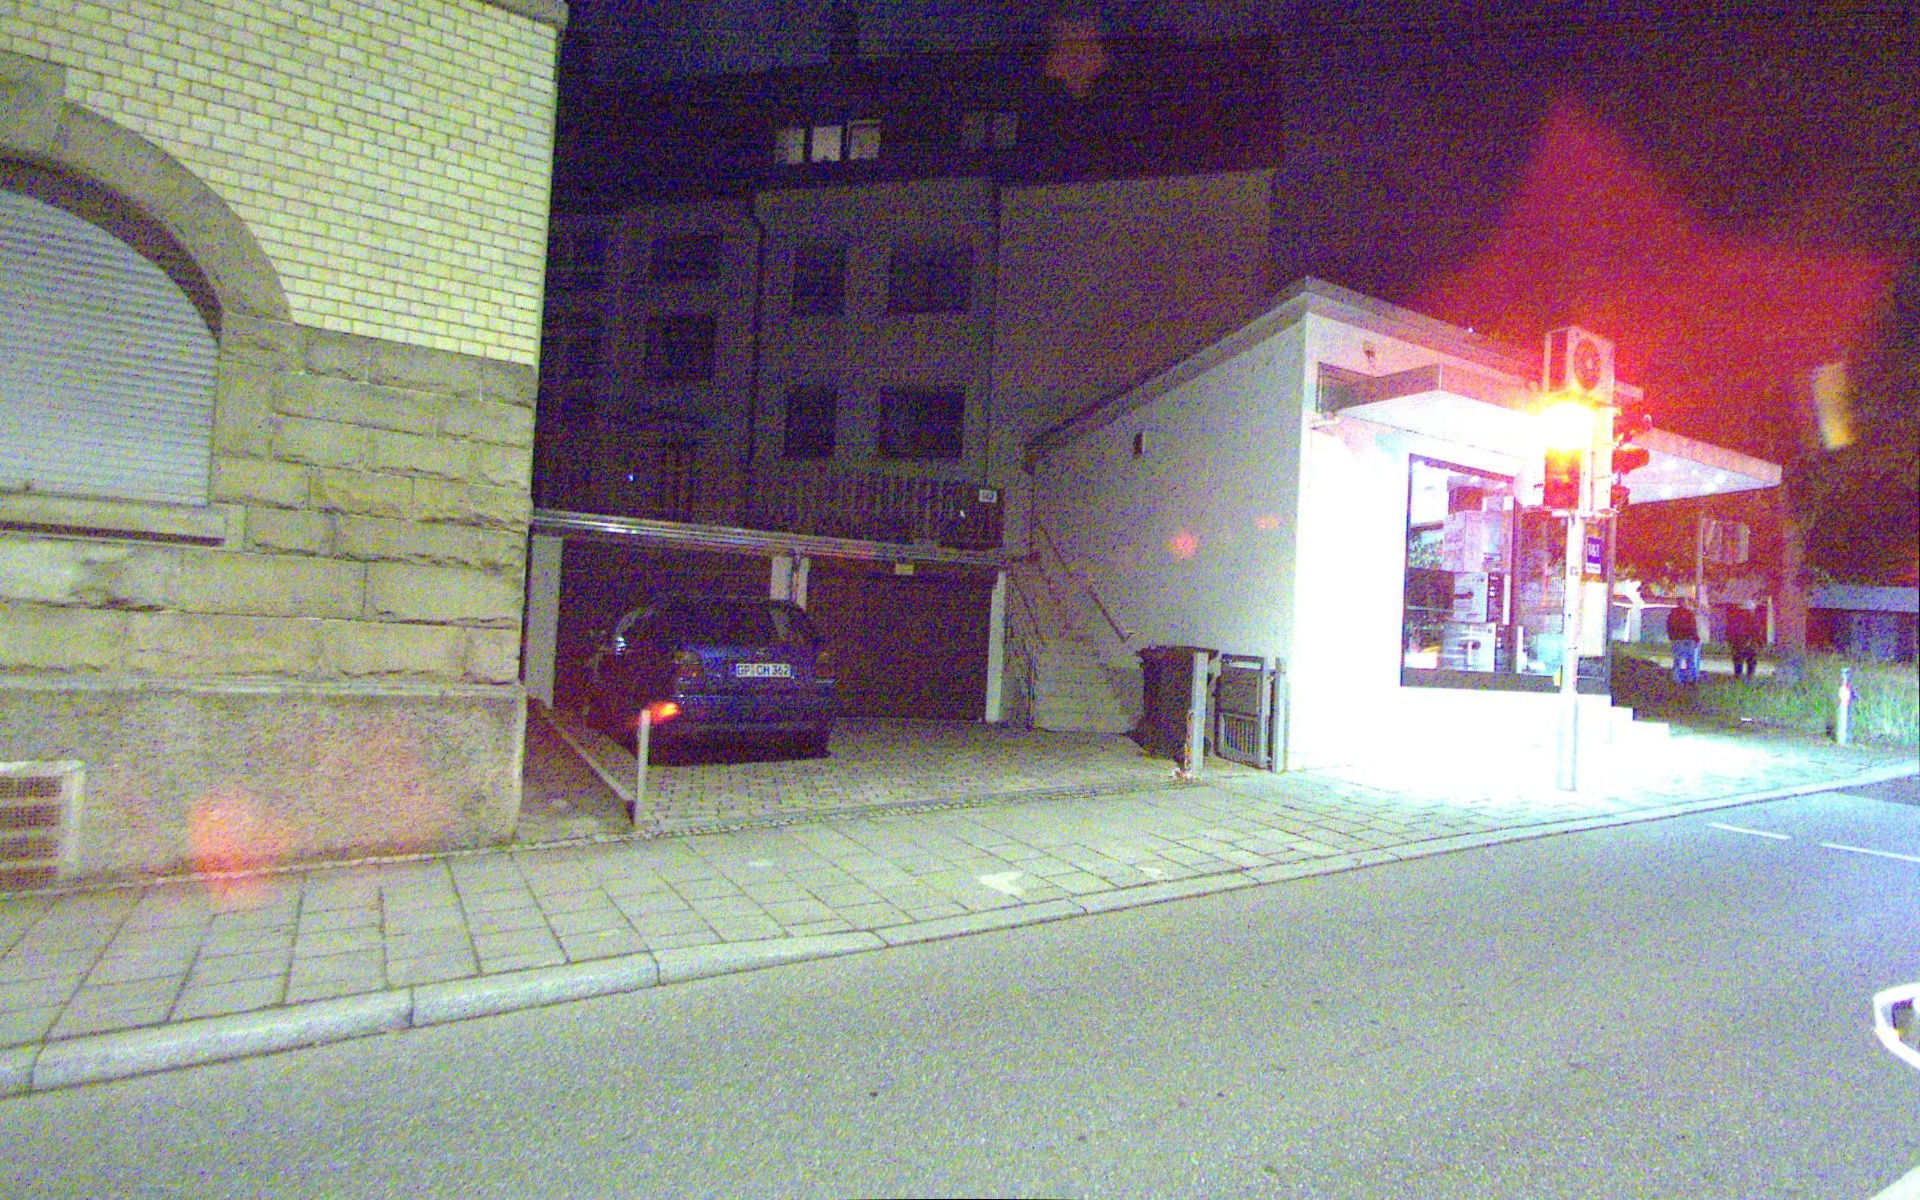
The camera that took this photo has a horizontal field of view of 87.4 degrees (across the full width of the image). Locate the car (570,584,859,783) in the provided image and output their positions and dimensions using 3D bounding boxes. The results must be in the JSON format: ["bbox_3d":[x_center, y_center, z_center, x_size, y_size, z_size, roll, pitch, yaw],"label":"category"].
[{"bbox_3d":[-2.500,0.628,9.561,1.700,1.460,3.631,2,1,-30],"label":"car"}]

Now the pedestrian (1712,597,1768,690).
[{"bbox_3d":[15.628,0.864,20.125,0.729,1.801,0.567,2,2,-30],"label":"pedestrian"}]

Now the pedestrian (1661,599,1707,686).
[{"bbox_3d":[14.818,0.864,20.555,0.537,1.754,0.567,2,0,-30],"label":"pedestrian"}]
